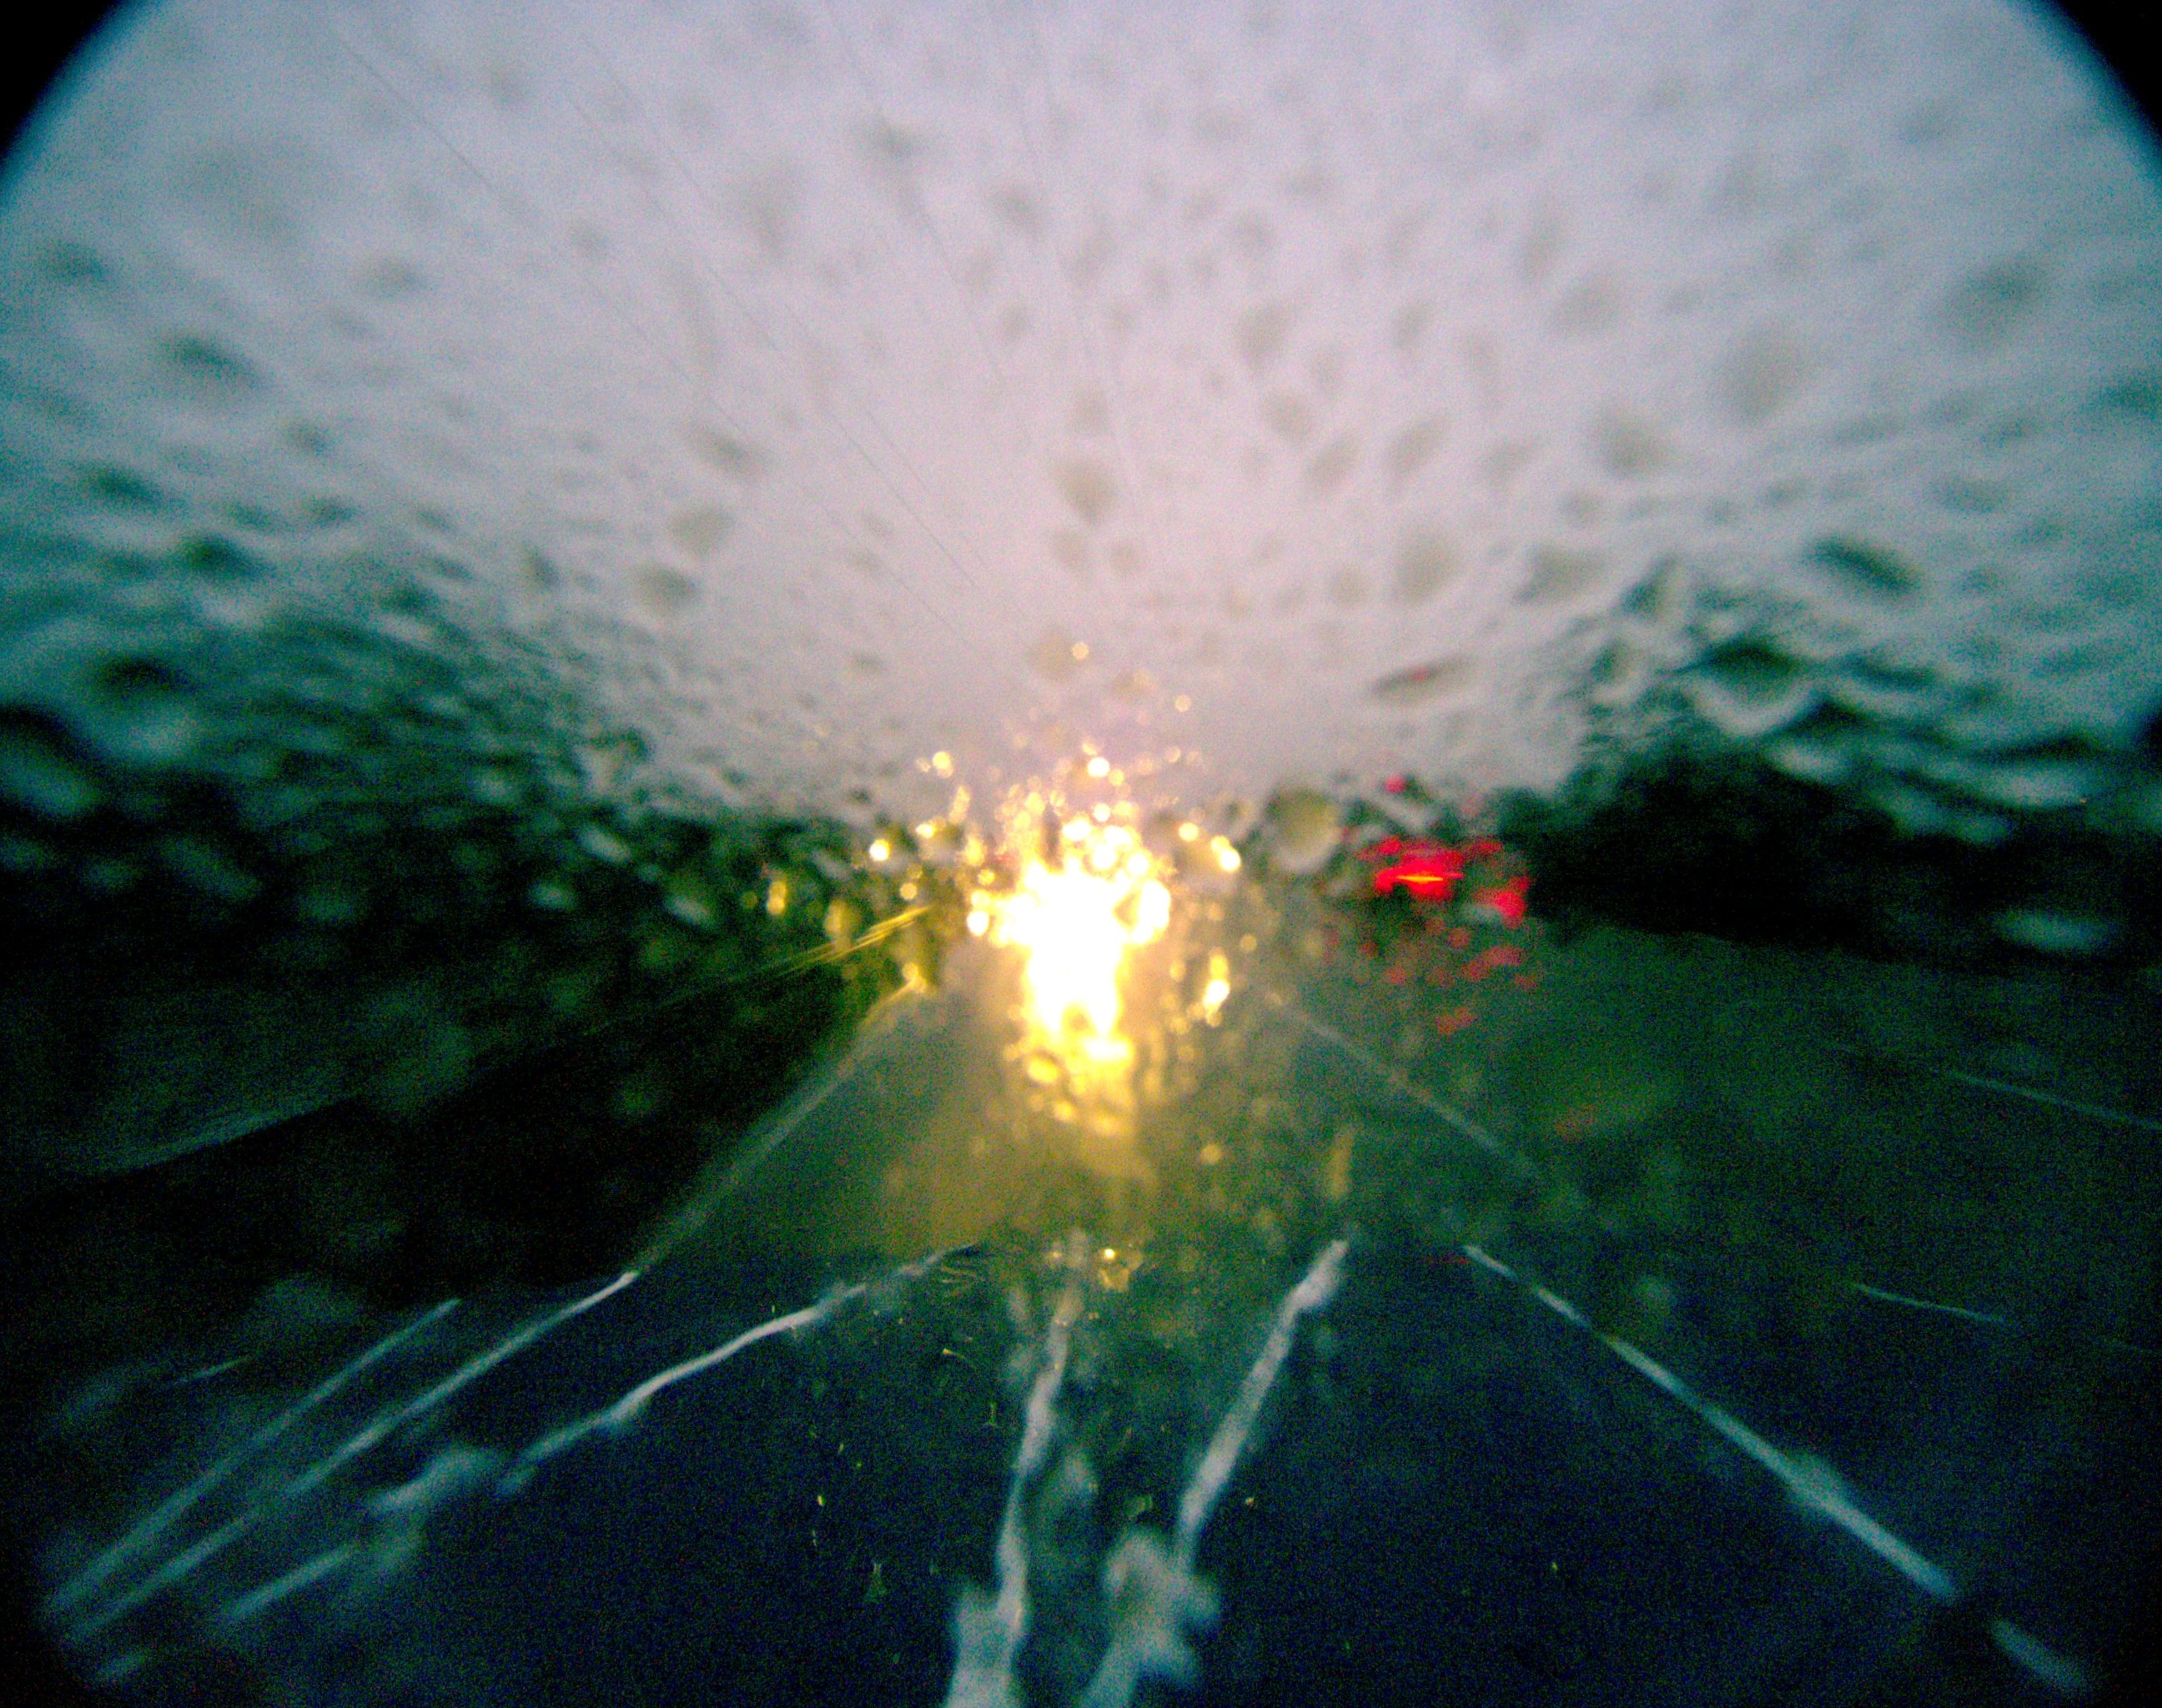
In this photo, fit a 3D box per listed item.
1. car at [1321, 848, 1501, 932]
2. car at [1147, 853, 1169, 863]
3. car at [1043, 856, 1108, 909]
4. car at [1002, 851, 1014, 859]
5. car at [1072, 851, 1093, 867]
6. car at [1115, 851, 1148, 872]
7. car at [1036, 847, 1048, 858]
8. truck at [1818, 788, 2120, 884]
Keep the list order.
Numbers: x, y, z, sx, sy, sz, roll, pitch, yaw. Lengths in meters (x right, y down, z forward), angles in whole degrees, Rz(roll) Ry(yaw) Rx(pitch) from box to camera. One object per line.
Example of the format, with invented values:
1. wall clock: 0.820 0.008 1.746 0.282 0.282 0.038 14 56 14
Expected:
1. car: 6.634 0.636 15.888 1.868 1.492 4.522 -1 0 1
2. car: 10.504 0.562 103.277 1.596 1.237 4.006 -3 0 27
3. car: -0.251 0.844 24.712 1.887 1.514 3.999 -1 0 -3
4. car: -13.610 0.157 141.422 1.701 1.409 3.996 -2 1 -11
5. car: 0.097 0.548 81.223 1.894 1.580 4.379 -2 1 -4
6. car: 3.816 0.532 58.181 1.999 1.481 4.380 -2 1 -3
7. car: -5.653 -0.190 110.461 1.641 1.464 4.446 -1 2 -4
8. truck: 49.212 -1.016 43.348 3.280 4.584 13.884 0 2 11
